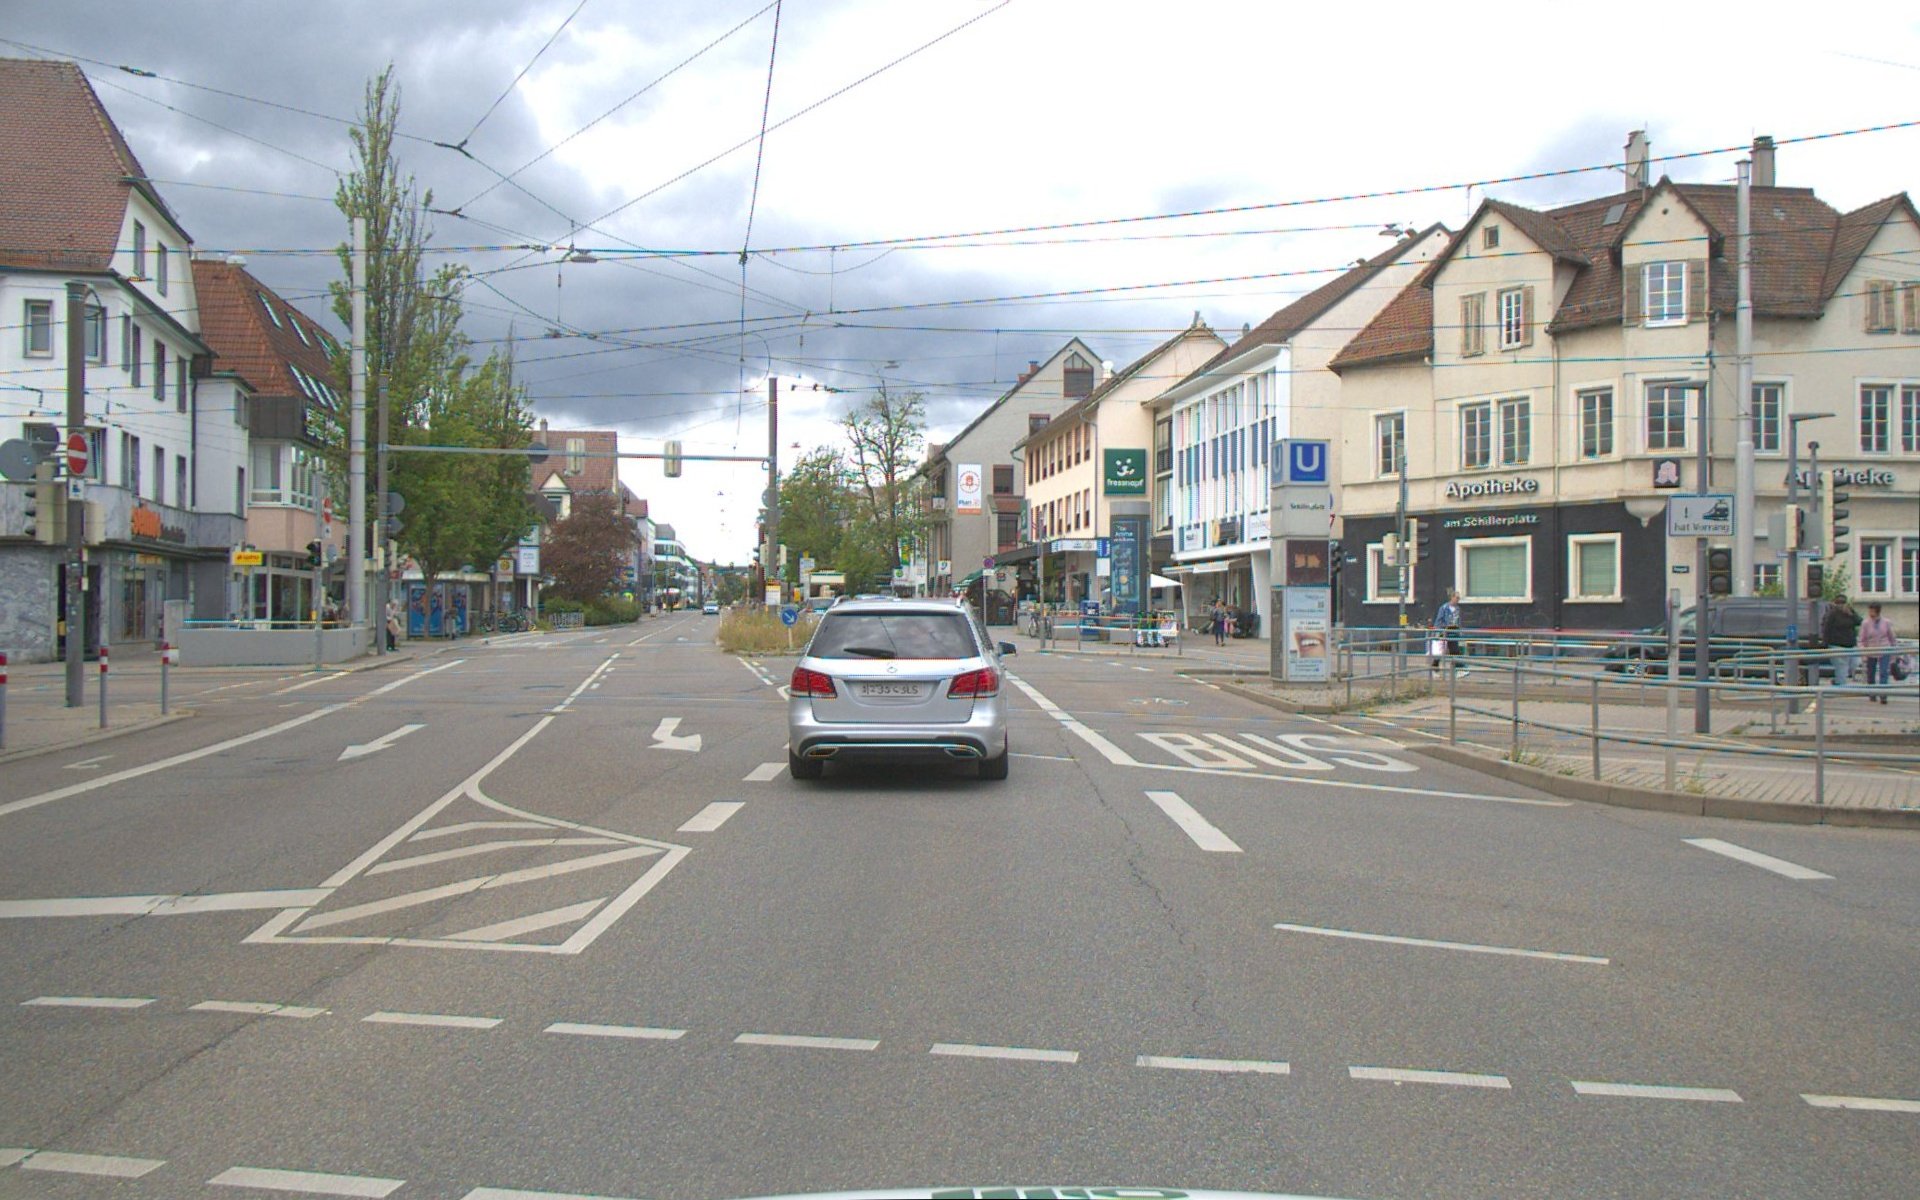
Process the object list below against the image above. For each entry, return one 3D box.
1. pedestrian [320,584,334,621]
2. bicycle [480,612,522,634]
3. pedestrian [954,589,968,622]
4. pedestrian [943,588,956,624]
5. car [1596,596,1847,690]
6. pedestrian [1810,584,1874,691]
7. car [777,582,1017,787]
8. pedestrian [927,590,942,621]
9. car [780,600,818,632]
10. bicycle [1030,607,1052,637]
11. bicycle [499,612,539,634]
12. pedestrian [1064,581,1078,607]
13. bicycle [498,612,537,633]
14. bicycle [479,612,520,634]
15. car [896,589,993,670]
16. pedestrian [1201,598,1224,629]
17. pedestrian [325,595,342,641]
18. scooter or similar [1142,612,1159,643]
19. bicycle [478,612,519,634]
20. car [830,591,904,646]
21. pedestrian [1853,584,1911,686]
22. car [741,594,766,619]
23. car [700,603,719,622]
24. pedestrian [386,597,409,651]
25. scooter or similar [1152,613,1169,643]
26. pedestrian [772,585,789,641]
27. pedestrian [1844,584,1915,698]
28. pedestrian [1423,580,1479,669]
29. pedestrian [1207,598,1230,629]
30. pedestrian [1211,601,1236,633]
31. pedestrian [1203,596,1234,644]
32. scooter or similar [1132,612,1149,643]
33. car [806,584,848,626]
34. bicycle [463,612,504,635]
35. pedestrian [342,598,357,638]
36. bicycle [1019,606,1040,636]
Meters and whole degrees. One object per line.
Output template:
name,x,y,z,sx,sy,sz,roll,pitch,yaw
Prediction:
pedestrian,-27.815,0.113,72.632,0.569,1.634,0.640,0,0,-21
bicycle,-22.311,1.136,80.377,1.907,1.047,0.527,1,-1,-18
pedestrian,0.045,0.253,75.702,0.567,1.495,0.650,1,-1,-7
pedestrian,-0.520,0.275,79.230,0.566,1.695,0.651,1,-1,-2
car,16.224,0.885,35.339,4.603,1.853,1.857,0,-1,36
pedestrian,14.656,0.619,27.497,0.688,1.748,0.649,0,0,-4
car,-0.405,0.636,14.582,1.807,1.534,4.172,0,0,2
pedestrian,-1.192,0.267,77.847,0.568,1.460,0.648,1,-1,-14
car,-9.333,0.895,95.607,1.956,1.780,3.992,0,0,-9
bicycle,3.054,0.827,62.624,0.439,1.127,2.145,0,0,-7
bicycle,-22.240,1.156,83.427,1.907,1.047,0.527,1,-1,-18
pedestrian,5.278,-0.297,78.577,0.523,1.240,0.578,1,-1,-11
bicycle,-22.574,1.156,84.359,1.907,1.047,0.527,1,-1,-18
bicycle,-22.536,1.136,81.009,1.907,1.047,0.527,1,-1,-18
car,-0.256,0.566,33.838,1.698,1.534,4.002,1,0,3
pedestrian,9.874,0.529,64.643,0.723,1.184,0.641,1,-1,-11
pedestrian,-25.297,0.729,66.824,0.633,1.868,0.576,0,0,-22
scooter or similar,6.417,0.934,55.840,0.266,1.019,1.026,0,0,-11
bicycle,-22.745,1.136,81.576,1.907,1.047,0.527,1,-1,-18
car,-2.755,0.511,48.277,1.703,1.534,3.990,0,0,-10
pedestrian,16.131,0.604,28.952,0.771,1.748,0.649,2,0,23
car,-17.898,0.555,143.344,1.957,2.049,3.991,0,0,-10
car,-27.738,1.365,182.891,1.957,2.049,3.991,0,0,-10
pedestrian,-17.067,0.728,50.164,0.624,1.634,0.700,0,0,-21
scooter or similar,6.766,0.936,55.923,0.266,1.019,1.026,0,0,-11
pedestrian,-5.848,0.419,53.956,0.523,1.794,0.578,0,0,-10
pedestrian,14.552,0.635,26.182,0.770,1.748,0.650,2,0,10
pedestrian,9.723,0.476,32.779,0.826,1.748,0.725,0,0,-12
pedestrian,10.003,0.526,64.007,0.723,1.184,0.641,1,-1,-11
pedestrian,9.763,0.634,61.259,0.723,1.184,0.641,1,-1,-11
pedestrian,8.746,0.670,56.025,0.633,1.619,0.890,1,-1,-28
scooter or similar,6.067,0.925,55.749,0.266,1.019,1.026,0,0,-11
car,-5.851,0.219,72.486,1.701,1.790,3.994,0,0,-7
bicycle,-22.918,1.121,79.541,1.907,1.047,0.527,1,-1,-18
pedestrian,-25.135,0.739,68.046,0.569,1.634,0.640,0,0,-21
bicycle,2.617,0.776,62.559,0.439,1.110,2.145,0,0,-7
